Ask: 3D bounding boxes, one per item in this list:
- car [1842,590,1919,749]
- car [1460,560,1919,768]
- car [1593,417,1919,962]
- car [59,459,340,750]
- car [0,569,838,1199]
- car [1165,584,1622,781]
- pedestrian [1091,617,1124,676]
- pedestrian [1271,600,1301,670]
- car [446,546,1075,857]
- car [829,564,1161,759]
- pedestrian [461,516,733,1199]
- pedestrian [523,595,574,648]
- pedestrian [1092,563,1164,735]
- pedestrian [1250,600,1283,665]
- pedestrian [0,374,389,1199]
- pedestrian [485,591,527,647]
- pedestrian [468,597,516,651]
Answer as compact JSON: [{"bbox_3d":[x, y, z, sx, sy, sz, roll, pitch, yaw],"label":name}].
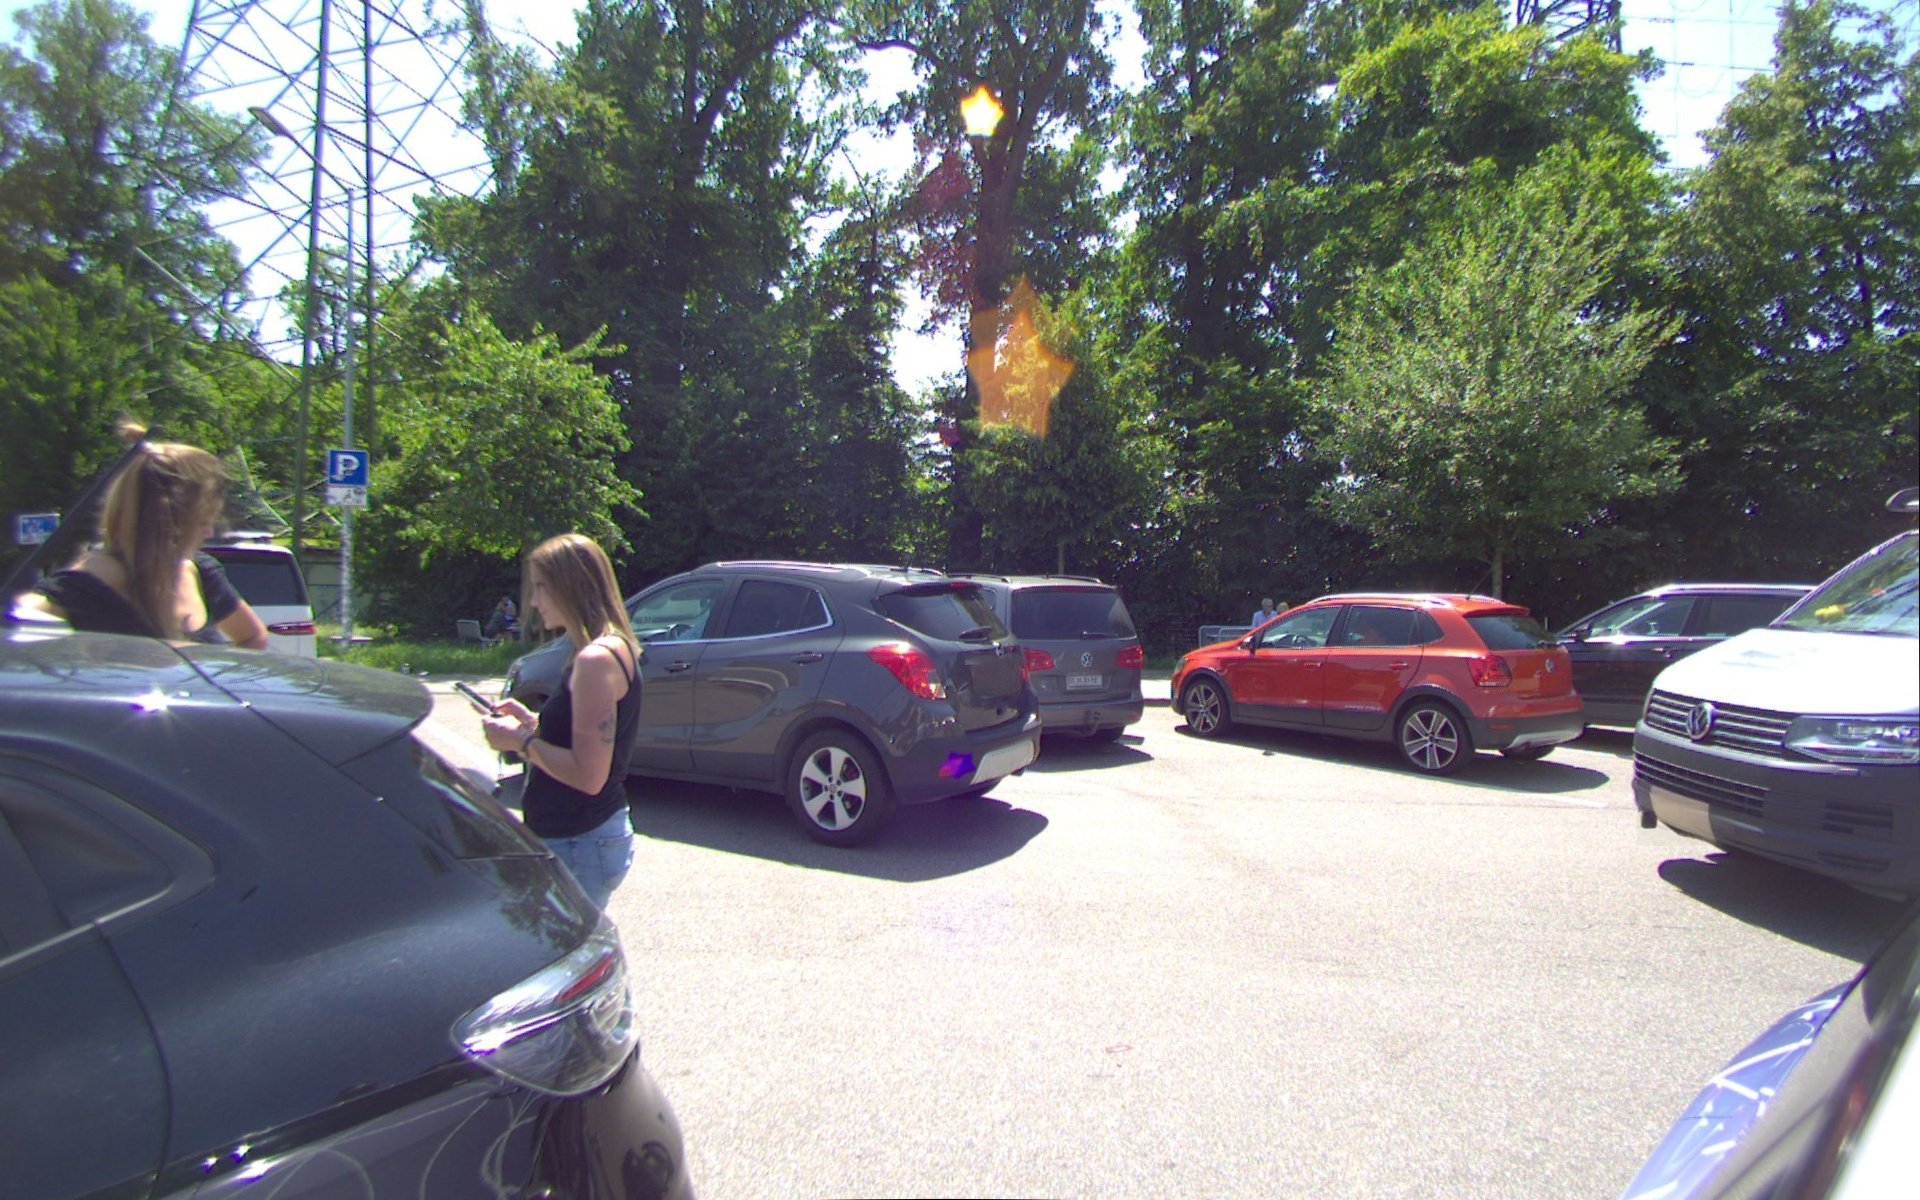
[{"bbox_3d":[10.373,0.660,8.816,1.813,1.473,3.776,1,0,-36],"label":"car"},{"bbox_3d":[7.139,0.500,9.708,1.679,1.637,3.863,1,0,-40],"label":"car"},{"bbox_3d":[6.253,0.368,4.687,5.336,2.131,1.842,1,1,4],"label":"car"},{"bbox_3d":[-8.314,0.028,10.846,1.897,2.400,4.963,1,-1,-43],"label":"car"},{"bbox_3d":[-2.059,0.720,0.765,1.776,1.476,3.628,0,0,44],"label":"car"},{"bbox_3d":[3.894,0.622,9.661,1.588,1.485,3.751,1,0,-34],"label":"car"},{"bbox_3d":[2.298,0.710,15.749,0.494,0.890,0.512,1,-1,10],"label":"pedestrian"},{"bbox_3d":[5.750,0.613,17.850,0.348,1.207,0.367,0,0,-20],"label":"pedestrian"},{"bbox_3d":[-1.452,0.517,7.123,4.128,1.637,1.821,1,0,28],"label":"car"},{"bbox_3d":[0.161,0.504,10.614,1.670,1.637,3.912,0,0,-30],"label":"car"},{"bbox_3d":[-0.931,0.620,2.592,0.477,1.614,0.502,1,-1,-44],"label":"pedestrian"},{"bbox_3d":[-9.598,0.492,23.599,0.810,1.201,0.836,0,0,40],"label":"pedestrian"},{"bbox_3d":[1.754,0.496,10.586,0.576,1.744,0.483,0,0,-20],"label":"pedestrian"},{"bbox_3d":[5.767,0.603,19.047,0.433,1.207,0.414,0,0,-30],"label":"pedestrian"},{"bbox_3d":[-1.863,0.501,2.421,0.478,1.883,0.913,1,-1,-3],"label":"pedestrian"},{"bbox_3d":[-10.997,0.451,24.526,0.539,1.318,0.758,0,0,37],"label":"pedestrian"},{"bbox_3d":[-10.494,0.516,22.690,0.785,1.178,0.696,0,0,39],"label":"pedestrian"}]
